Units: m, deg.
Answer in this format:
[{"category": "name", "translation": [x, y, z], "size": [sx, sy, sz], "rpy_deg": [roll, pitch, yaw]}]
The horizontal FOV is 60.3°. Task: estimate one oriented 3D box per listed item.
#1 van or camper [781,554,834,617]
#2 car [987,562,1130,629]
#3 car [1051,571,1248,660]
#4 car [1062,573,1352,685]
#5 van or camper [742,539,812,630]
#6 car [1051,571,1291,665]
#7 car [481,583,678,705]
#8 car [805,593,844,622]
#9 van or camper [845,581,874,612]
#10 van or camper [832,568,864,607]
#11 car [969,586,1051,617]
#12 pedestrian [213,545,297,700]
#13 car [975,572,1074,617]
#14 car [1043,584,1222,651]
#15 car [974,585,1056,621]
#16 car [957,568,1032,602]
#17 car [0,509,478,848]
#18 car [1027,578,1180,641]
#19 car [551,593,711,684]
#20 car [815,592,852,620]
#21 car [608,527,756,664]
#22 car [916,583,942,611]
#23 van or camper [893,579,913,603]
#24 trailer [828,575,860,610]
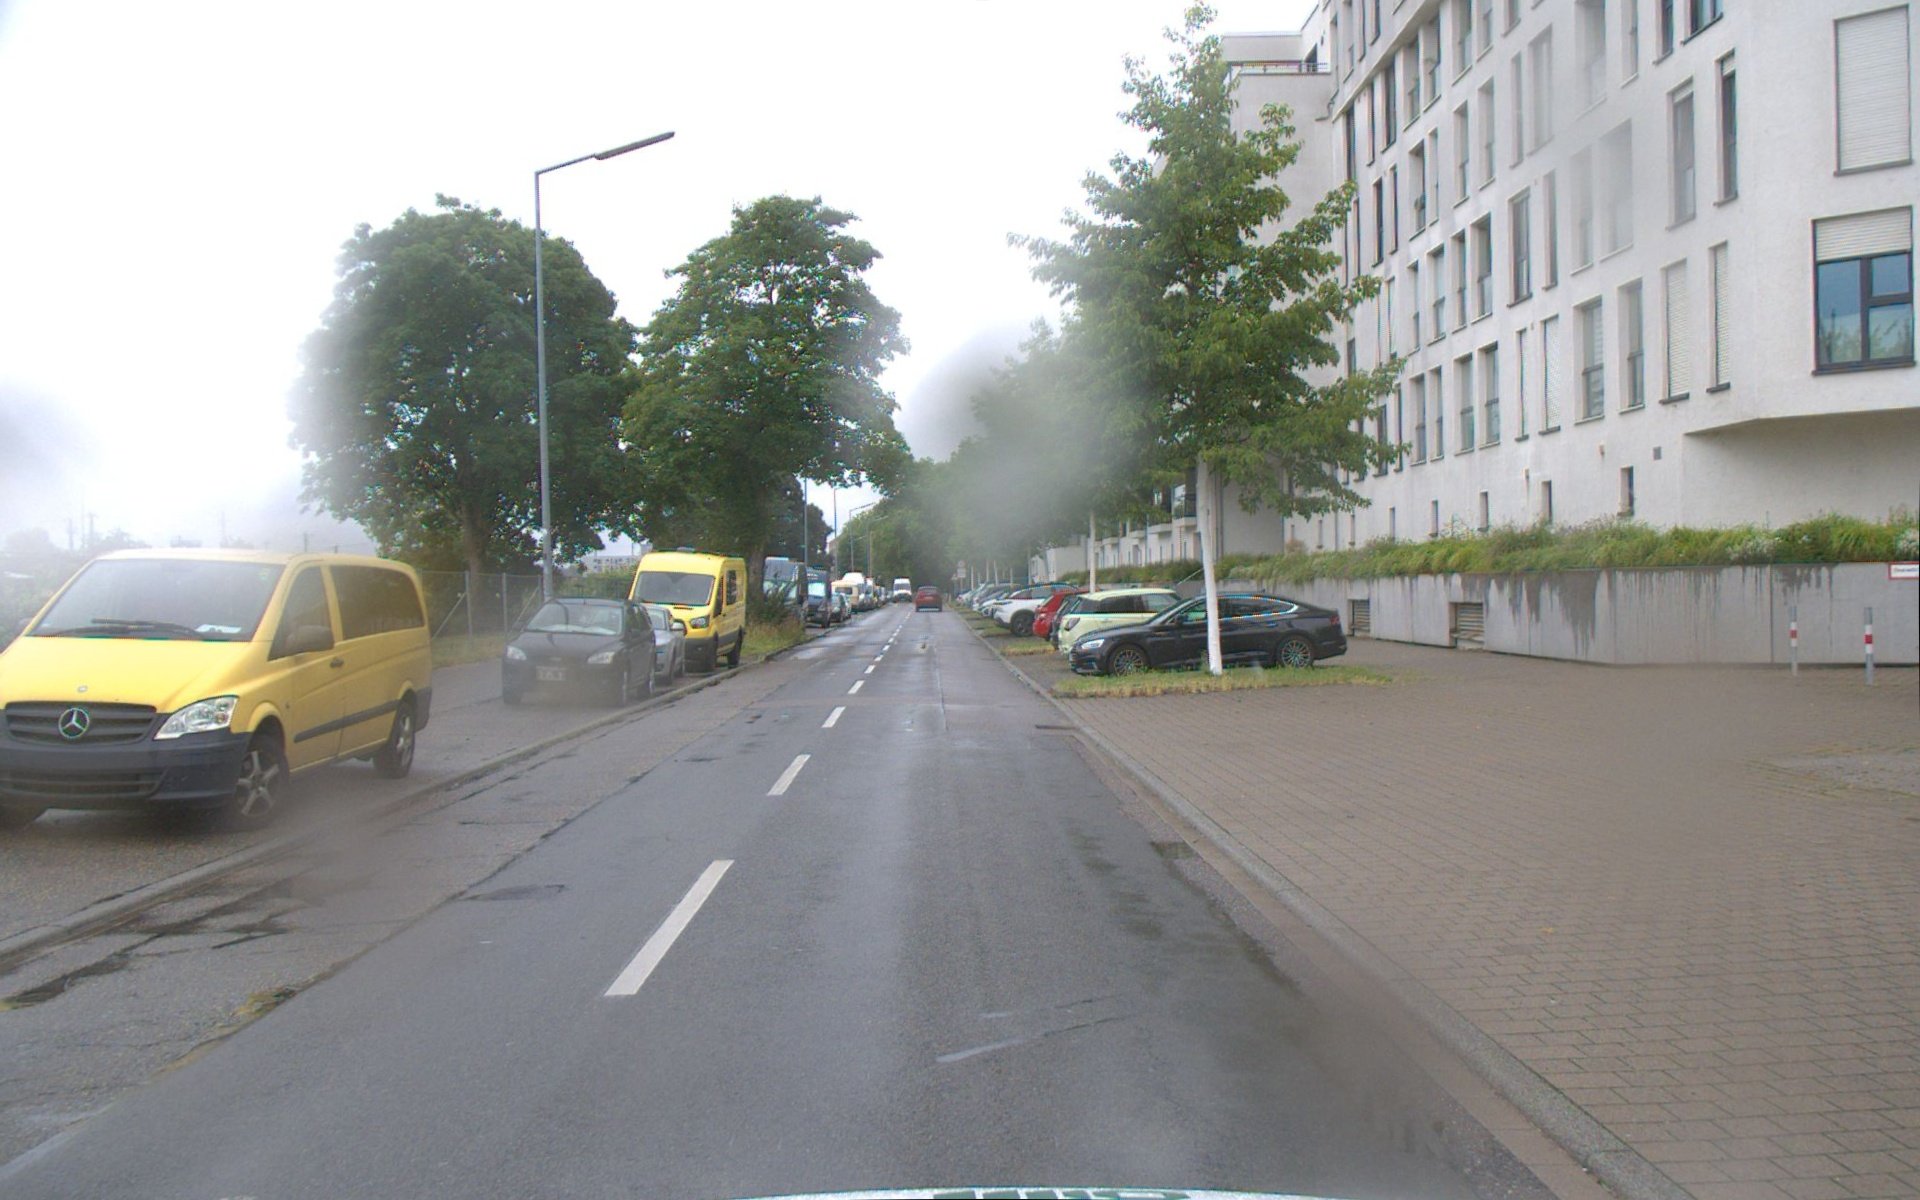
[{"category": "van or camper", "translation": [-7.015, -0.624, 76.818], "size": [2.053, 2.763, 7.570], "rpy_deg": [1, 0, -3]}, {"category": "car", "translation": [3.274, -0.149, 55.335], "size": [4.452, 1.714, 1.884], "rpy_deg": [-6, 0, -4]}, {"category": "car", "translation": [3.974, 0.320, 35.068], "size": [3.907, 1.582, 1.634], "rpy_deg": [-4, 0, -1]}, {"category": "car", "translation": [4.073, 0.471, 27.710], "size": [4.479, 1.523, 1.825], "rpy_deg": [-4, 0, -2]}, {"category": "van or camper", "translation": [-6.716, -0.522, 61.301], "size": [2.052, 3.148, 6.421], "rpy_deg": [2, 0, -2]}, {"category": "car", "translation": [4.085, 0.335, 32.428], "size": [4.397, 1.507, 1.691], "rpy_deg": [-4, 0, -2]}, {"category": "car", "translation": [-5.621, 0.609, 25.101], "size": [1.953, 1.622, 5.015], "rpy_deg": [1, 0, -2]}, {"category": "car", "translation": [-7.287, 0.388, 89.056], "size": [1.738, 1.529, 4.827], "rpy_deg": [1, 0, -1]}, {"category": "van or camper", "translation": [-8.357, -0.318, 137.868], "size": [2.145, 2.505, 6.376], "rpy_deg": [0, 0, -1]}, {"category": "van or camper", "translation": [-8.364, -0.895, 123.841], "size": [1.953, 2.810, 7.896], "rpy_deg": [0, 0, -1]}, {"category": "car", "translation": [2.690, 0.052, 89.528], "size": [4.214, 1.453, 1.636], "rpy_deg": [-3, 0, -4]}, {"category": "pedestrian", "translation": [-9.512, 0.292, 22.348], "size": [0.727, 2.049, 0.980], "rpy_deg": [0, 0, -1]}, {"category": "car", "translation": [2.989, -0.276, 77.041], "size": [4.388, 1.716, 1.935], "rpy_deg": [-4, 1, -3]}, {"category": "car", "translation": [3.896, 0.392, 37.707], "size": [3.878, 1.500, 1.591], "rpy_deg": [0, 0, -4]}, {"category": "car", "translation": [2.715, 0.144, 81.841], "size": [3.907, 1.536, 1.684], "rpy_deg": [-3, 1, -2]}, {"category": "car", "translation": [2.142, -0.943, 104.149], "size": [4.528, 2.055, 1.856], "rpy_deg": [-1, 0, -6]}, {"category": "car", "translation": [-5.555, 0.459, 12.802], "size": [1.976, 1.990, 6.063], "rpy_deg": [1, 0, -1]}, {"category": "car", "translation": [3.871, 0.265, 45.165], "size": [3.907, 1.477, 1.820], "rpy_deg": [-3, -1, -2]}, {"category": "car", "translation": [-5.926, 0.647, 30.427], "size": [1.970, 1.459, 5.338], "rpy_deg": [2, 0, -2]}, {"category": "car", "translation": [-7.298, 0.314, 95.767], "size": [1.849, 1.552, 5.107], "rpy_deg": [2, 0, -2]}, {"category": "car", "translation": [-6.054, -0.102, 36.852], "size": [2.147, 2.741, 6.081], "rpy_deg": [1, 0, 0]}, {"category": "car", "translation": [-2.073, -0.165, 111.818], "size": [1.720, 1.736, 3.999], "rpy_deg": [-1, -2, -1]}, {"category": "van or camper", "translation": [-6.330, -1.028, 183.212], "size": [1.953, 2.541, 7.177], "rpy_deg": [-2, 0, 0]}, {"category": "trailer", "translation": [-7.789, -0.525, 111.393], "size": [2.017, 2.256, 5.791], "rpy_deg": [0, 0, -3]}]
